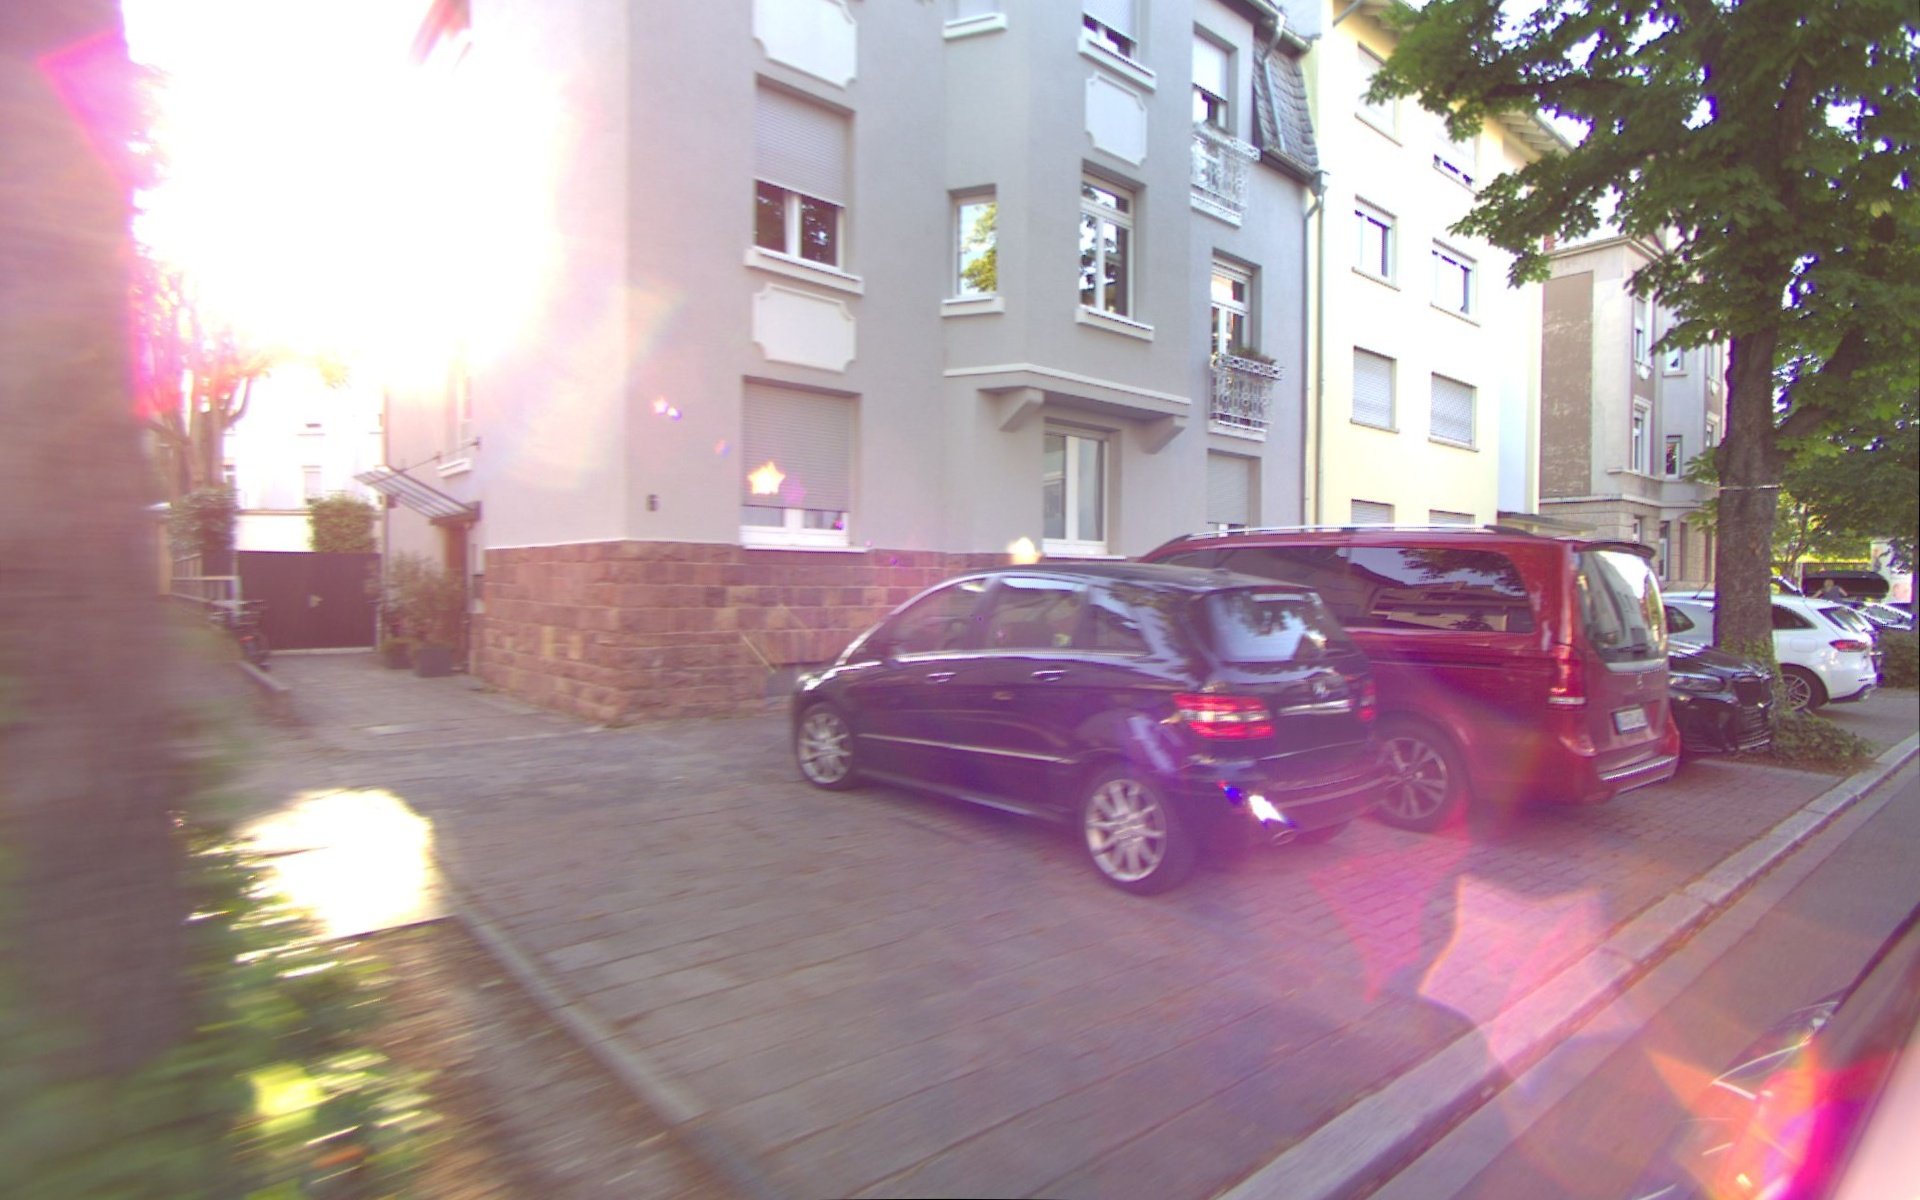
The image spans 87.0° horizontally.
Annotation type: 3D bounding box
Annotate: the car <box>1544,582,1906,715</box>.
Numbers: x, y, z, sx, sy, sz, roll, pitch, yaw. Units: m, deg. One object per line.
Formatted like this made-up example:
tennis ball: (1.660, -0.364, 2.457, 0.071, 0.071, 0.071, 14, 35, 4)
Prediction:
car: (10.319, 0.545, 13.866, 1.646, 1.516, 3.679, 0, 1, -40)

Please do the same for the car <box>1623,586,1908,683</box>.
car: (14.028, 0.526, 17.780, 1.573, 1.460, 3.679, 0, 1, -40)

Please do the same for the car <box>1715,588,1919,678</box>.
car: (16.116, 0.552, 18.303, 1.573, 1.460, 3.679, 0, 1, -40)

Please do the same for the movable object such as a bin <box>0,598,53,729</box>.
movable object such as a bin: (-8.359, 0.537, 8.757, 0.679, 1.076, 0.605, 0, 2, -34)

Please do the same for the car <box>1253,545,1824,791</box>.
car: (4.996, 0.422, 9.325, 1.758, 1.726, 4.211, 0, 1, -36)

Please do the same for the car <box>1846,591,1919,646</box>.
car: (27.744, 0.542, 28.762, 3.815, 1.504, 1.577, 2, 1, 43)

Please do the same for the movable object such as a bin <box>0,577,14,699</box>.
movable object such as a bin: (-9.497, 0.360, 9.638, 0.604, 1.130, 0.681, 5, 4, 44)

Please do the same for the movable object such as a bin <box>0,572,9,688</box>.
movable object such as a bin: (-9.991, 0.295, 10.118, 0.604, 1.130, 0.681, 5, 4, 44)

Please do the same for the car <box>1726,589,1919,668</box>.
car: (18.836, 0.562, 21.500, 1.573, 1.504, 3.824, 0, 1, -40)

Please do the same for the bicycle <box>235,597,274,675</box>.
bicycle: (-10.826, 0.513, 15.510, 0.451, 1.086, 1.960, 0, 1, -36)

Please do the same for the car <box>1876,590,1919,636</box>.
car: (33.205, 0.463, 33.691, 1.573, 1.504, 3.824, 0, 1, -40)

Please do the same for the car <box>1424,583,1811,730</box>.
car: (7.897, 0.558, 12.418, 1.588, 1.480, 3.679, 0, 1, -40)

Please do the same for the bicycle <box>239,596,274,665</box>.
bicycle: (-12.060, 0.488, 17.334, 0.451, 1.086, 1.960, 0, 1, -36)

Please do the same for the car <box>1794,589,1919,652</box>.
car: (23.590, 0.499, 25.446, 1.573, 1.504, 3.824, 0, 1, -40)

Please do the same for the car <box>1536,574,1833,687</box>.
car: (11.769, 0.398, 16.625, 1.646, 1.618, 3.679, 0, 1, -40)

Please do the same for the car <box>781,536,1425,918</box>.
car: (0.586, 0.489, 6.347, 1.657, 1.623, 3.903, 0, 1, -40)

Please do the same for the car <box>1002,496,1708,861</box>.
car: (2.652, 0.360, 7.915, 1.915, 1.961, 4.818, 0, 1, -39)

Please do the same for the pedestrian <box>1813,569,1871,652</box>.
pedestrian: (22.301, 0.255, 25.584, 0.964, 2.039, 0.998, 0, 1, -43)
